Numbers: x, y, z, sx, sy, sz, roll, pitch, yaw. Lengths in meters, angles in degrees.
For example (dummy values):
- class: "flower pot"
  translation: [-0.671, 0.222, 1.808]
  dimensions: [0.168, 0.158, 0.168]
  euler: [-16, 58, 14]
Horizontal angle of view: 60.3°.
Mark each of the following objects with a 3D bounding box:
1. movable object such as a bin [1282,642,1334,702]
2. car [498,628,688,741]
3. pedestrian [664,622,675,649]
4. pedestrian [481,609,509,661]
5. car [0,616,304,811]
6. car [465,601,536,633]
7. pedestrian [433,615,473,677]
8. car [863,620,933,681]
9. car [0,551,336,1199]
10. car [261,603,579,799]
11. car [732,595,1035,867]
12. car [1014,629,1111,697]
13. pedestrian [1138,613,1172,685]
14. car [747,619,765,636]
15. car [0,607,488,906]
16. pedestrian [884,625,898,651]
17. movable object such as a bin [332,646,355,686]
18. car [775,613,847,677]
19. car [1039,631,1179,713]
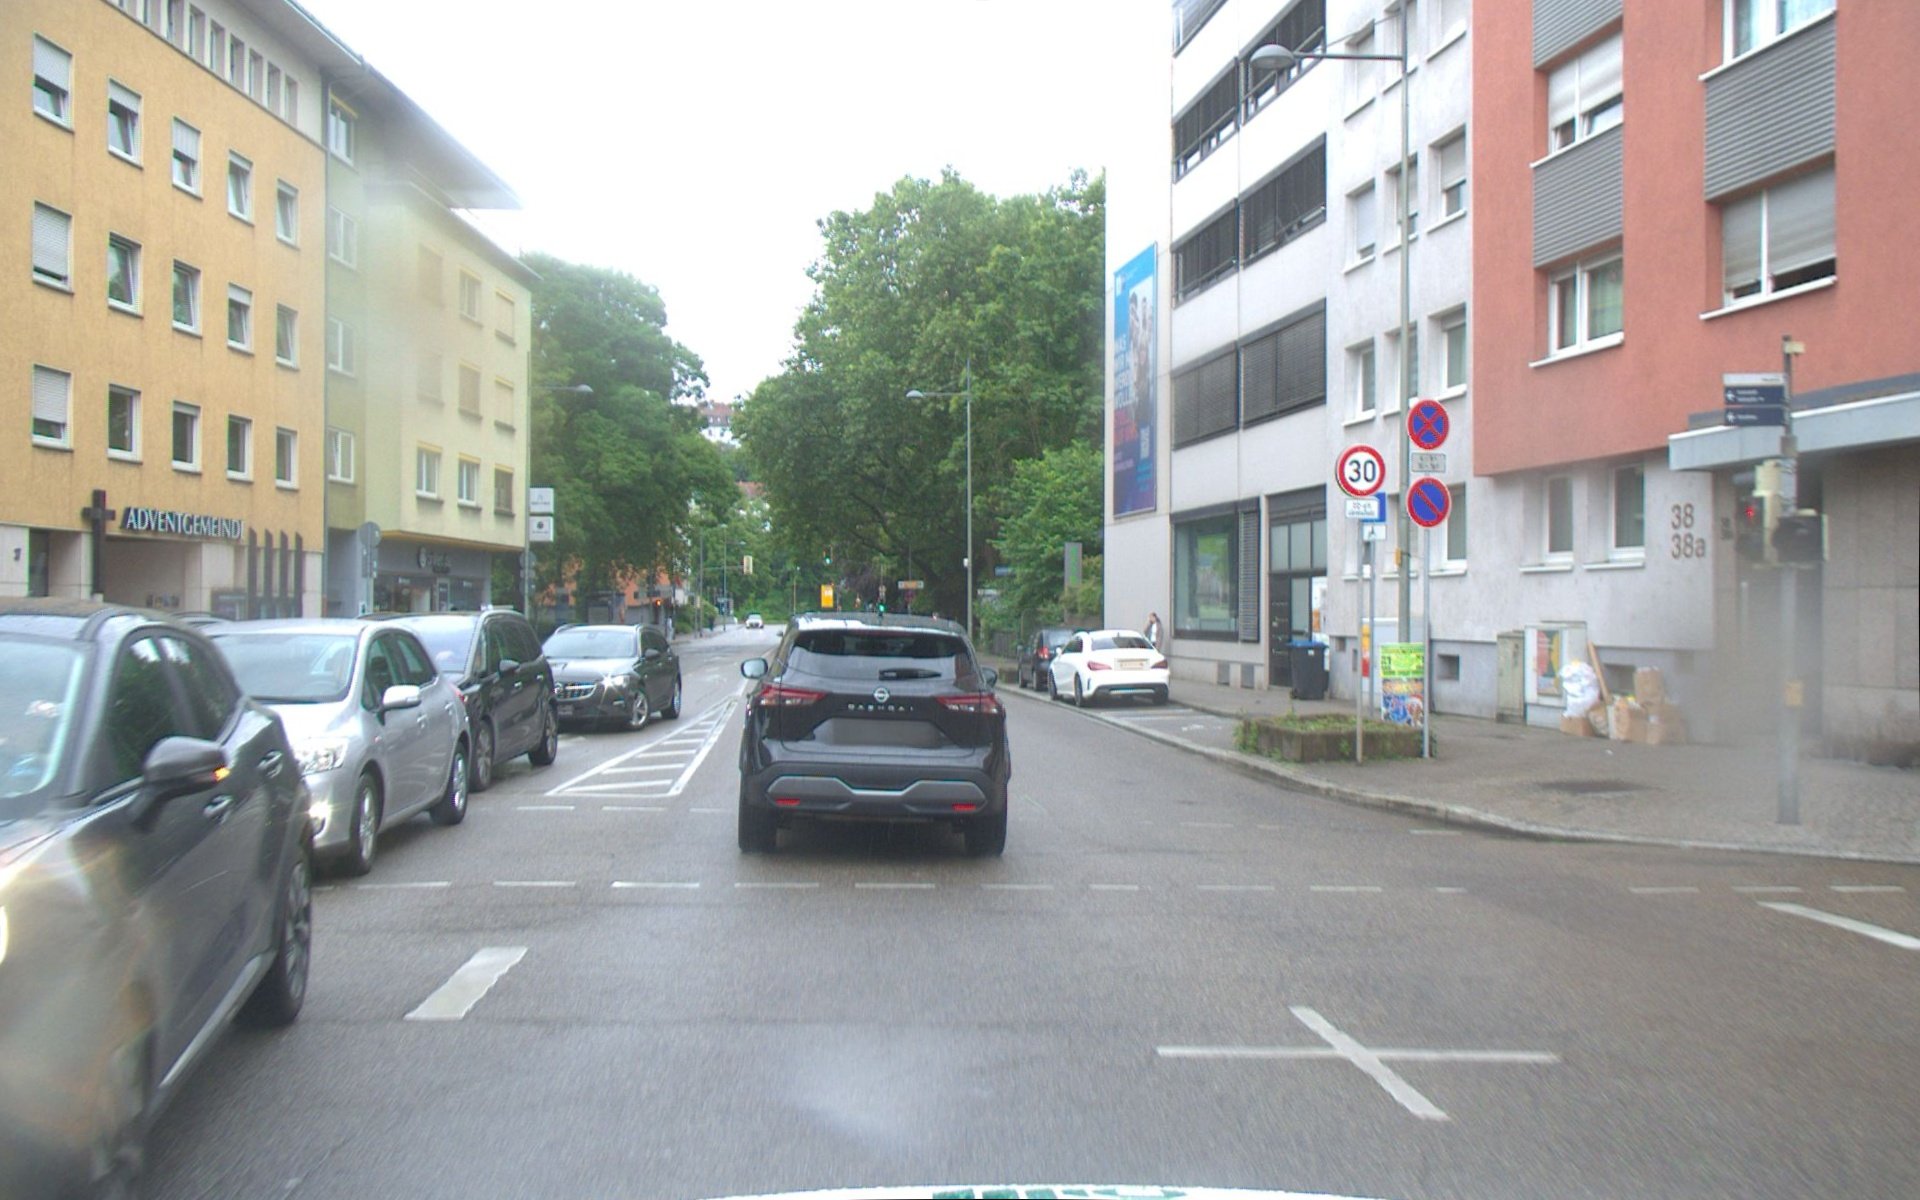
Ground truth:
- class: "movable object such as a bin"
  translation: [6.545, 1.345, 31.114]
  dimensions: [0.700, 1.087, 0.782]
  euler: [0, -1, -12]
- class: "car"
  translation: [-5.184, 1.157, 23.947]
  dimensions: [1.783, 1.459, 4.398]
  euler: [-1, -1, 0]
- class: "pedestrian"
  translation: [-19.954, 2.421, 113.670]
  dimensions: [0.655, 1.823, 0.719]
  euler: [2, -1, -13]
- class: "pedestrian"
  translation: [-15.315, 1.149, 54.480]
  dimensions: [0.783, 1.718, 0.816]
  euler: [0, -1, -7]
- class: "car"
  translation: [-8.232, 1.054, 16.448]
  dimensions: [1.784, 1.669, 4.371]
  euler: [-1, -2, -2]
- class: "car"
  translation: [-27.045, 0.981, 97.456]
  dimensions: [3.761, 1.765, 1.876]
  euler: [2, -1, -8]
- class: "pedestrian"
  translation: [-15.421, 1.392, 50.322]
  dimensions: [0.848, 1.820, 0.875]
  euler: [2, -1, 0]
- class: "car"
  translation: [-2.109, 1.675, 54.973]
  dimensions: [1.909, 1.848, 3.993]
  euler: [-2, -1, -7]
- class: "car"
  translation: [-2.879, 0.769, 4.398]
  dimensions: [1.825, 1.580, 4.209]
  euler: [0, -1, -15]
- class: "car"
  translation: [-5.089, 0.925, 16.246]
  dimensions: [1.784, 1.637, 4.428]
  euler: [-1, -2, -2]
- class: "car"
  translation: [-0.670, 0.869, 12.189]
  dimensions: [1.858, 1.657, 3.994]
  euler: [0, -2, -6]
- class: "car"
  translation: [2.391, 1.454, 39.529]
  dimensions: [1.681, 1.467, 4.077]
  euler: [-2, -1, -5]
- class: "pedestrian"
  translation: [4.897, 1.221, 41.552]
  dimensions: [0.601, 1.767, 0.679]
  euler: [-2, -1, -13]
- class: "car"
  translation: [-22.323, 3.002, 180.961]
  dimensions: [1.785, 1.828, 3.861]
  euler: [2, -1, -5]
- class: "car"
  translation: [-4.467, 0.893, 10.867]
  dimensions: [1.897, 1.554, 4.129]
  euler: [-1, -2, -6]
- class: "pedestrian"
  translation: [-4.907, 2.745, 118.241]
  dimensions: [0.709, 1.823, 0.664]
  euler: [1, -1, 42]
- class: "movable object such as a bin"
  translation: [-16.032, 1.723, 43.013]
  dimensions: [0.391, 1.024, 0.545]
  euler: [0, -1, 1]
- class: "car"
  translation: [-4.281, 1.299, 47.776]
  dimensions: [1.908, 1.714, 3.995]
  euler: [-2, -1, -5]
- class: "car"
  translation: [2.897, 1.378, 33.082]
  dimensions: [1.741, 1.426, 4.570]
  euler: [-2, -1, -8]
